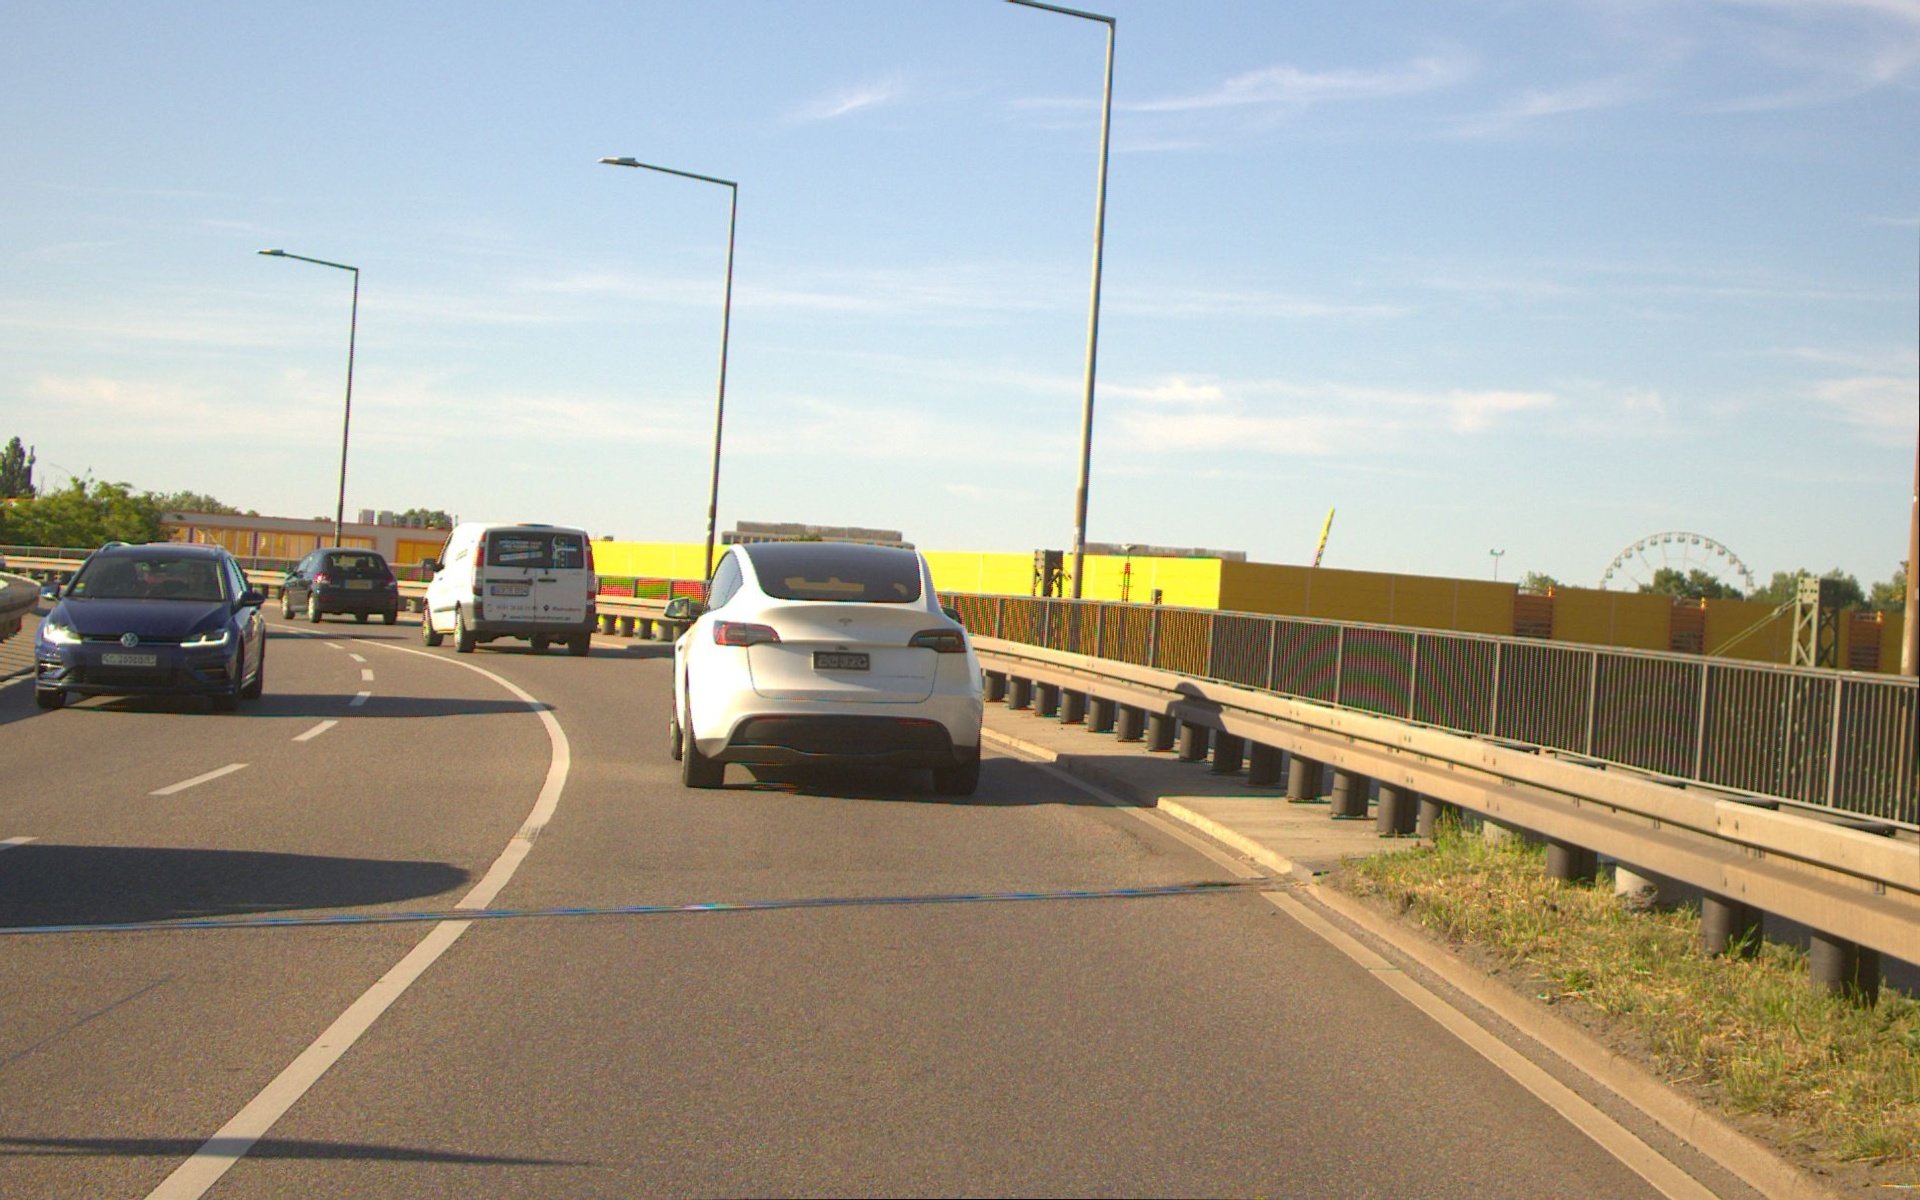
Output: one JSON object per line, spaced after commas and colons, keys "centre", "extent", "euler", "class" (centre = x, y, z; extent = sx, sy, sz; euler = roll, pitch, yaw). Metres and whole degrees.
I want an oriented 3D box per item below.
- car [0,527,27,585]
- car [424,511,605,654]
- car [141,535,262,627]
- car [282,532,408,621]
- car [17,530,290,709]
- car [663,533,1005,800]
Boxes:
{"centre": [-27.659, -1.287, 96.030], "extent": [1.859, 1.579, 3.914], "euler": [2, 1, -34], "class": "car"}
{"centre": [-6.602, -0.292, 50.556], "extent": [2.004, 1.934, 4.469], "euler": [2, 1, -15], "class": "car"}
{"centre": [-12.723, -0.346, 57.541], "extent": [1.781, 1.432, 3.876], "euler": [2, 1, -15], "class": "car"}
{"centre": [-11.826, -0.467, 65.940], "extent": [1.968, 1.632, 4.001], "euler": [1, 1, -16], "class": "car"}
{"centre": [-7.342, 0.137, 31.688], "extent": [1.724, 1.481, 4.408], "euler": [2, 1, -4], "class": "car"}
{"centre": [-0.950, 0.390, 23.399], "extent": [1.985, 1.632, 4.063], "euler": [1, 1, -7], "class": "car"}
